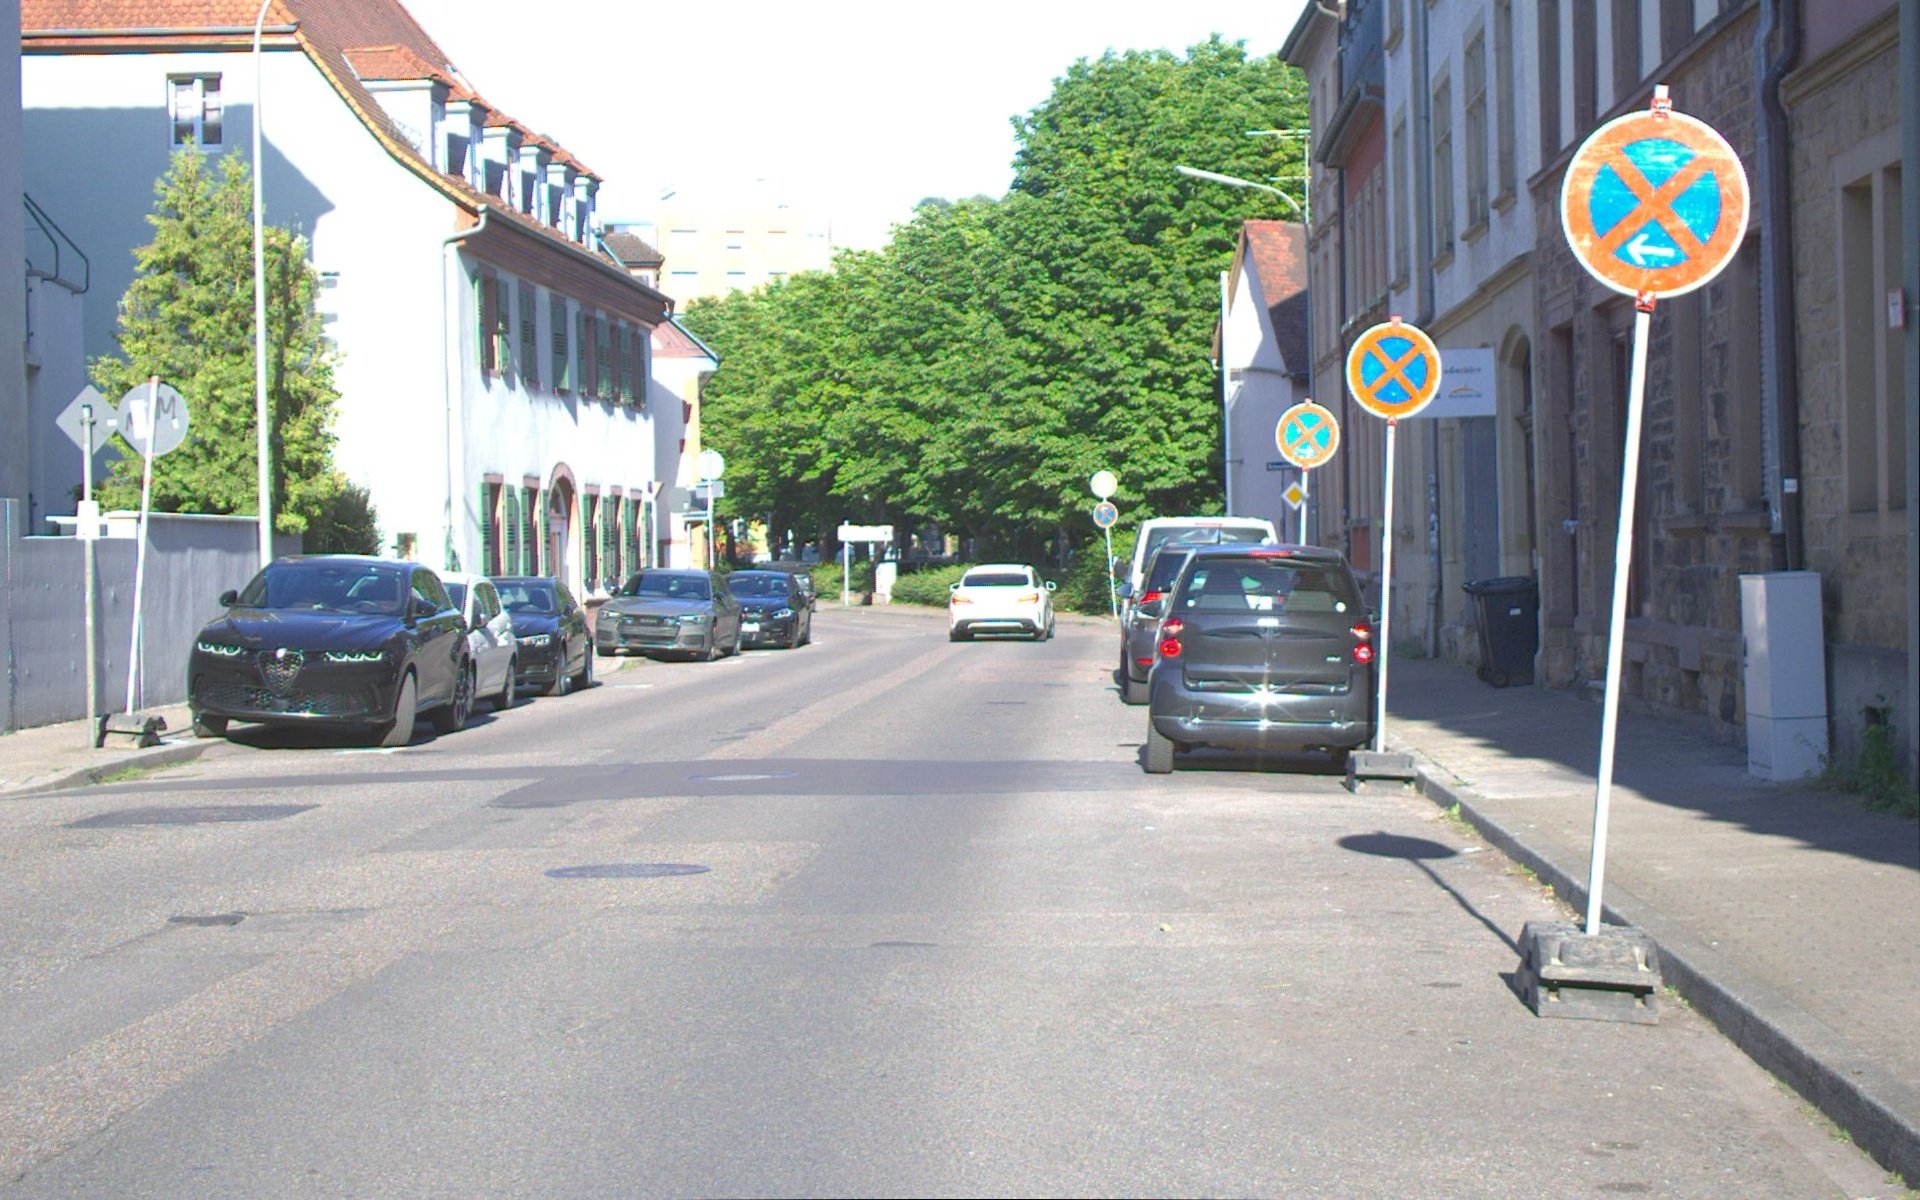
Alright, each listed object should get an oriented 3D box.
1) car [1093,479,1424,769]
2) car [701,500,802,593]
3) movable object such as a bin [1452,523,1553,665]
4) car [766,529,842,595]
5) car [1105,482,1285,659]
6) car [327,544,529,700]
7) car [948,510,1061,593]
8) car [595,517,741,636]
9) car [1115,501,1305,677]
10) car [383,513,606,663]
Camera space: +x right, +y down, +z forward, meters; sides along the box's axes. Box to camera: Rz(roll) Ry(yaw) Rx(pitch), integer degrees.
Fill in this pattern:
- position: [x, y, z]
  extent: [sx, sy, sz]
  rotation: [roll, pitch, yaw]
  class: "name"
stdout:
- position: [2.006, 0.086, 24.251]
  extent: [2.011, 1.846, 4.000]
  rotation: [0, 2, 1]
  class: "car"
- position: [-3.918, -1.028, 64.977]
  extent: [1.631, 1.625, 3.175]
  rotation: [-2, 2, 1]
  class: "car"
- position: [5.494, -0.065, 34.862]
  extent: [0.871, 1.373, 0.685]
  rotation: [-2, 2, 0]
  class: "movable object such as a bin"
- position: [-5.031, -1.226, 110.175]
  extent: [1.993, 2.006, 4.001]
  rotation: [-1, 2, -8]
  class: "car"
- position: [2.719, -0.400, 40.515]
  extent: [1.841, 1.899, 4.000]
  rotation: [-2, 2, 1]
  class: "car"
- position: [-5.532, 0.196, 36.042]
  extent: [1.553, 1.452, 3.061]
  rotation: [-2, 2, 1]
  class: "car"
- position: [0.795, -0.923, 64.071]
  extent: [1.993, 1.461, 4.000]
  rotation: [-1, 1, -1]
  class: "car"
- position: [-4.726, -0.419, 56.152]
  extent: [1.910, 1.754, 4.129]
  rotation: [-2, 2, 1]
  class: "car"
- position: [2.609, -0.161, 35.848]
  extent: [1.818, 1.625, 4.000]
  rotation: [-2, 2, 4]
  class: "car"
- position: [-5.601, -0.187, 41.824]
  extent: [2.092, 1.625, 3.822]
  rotation: [-2, 2, 1]
  class: "car"
